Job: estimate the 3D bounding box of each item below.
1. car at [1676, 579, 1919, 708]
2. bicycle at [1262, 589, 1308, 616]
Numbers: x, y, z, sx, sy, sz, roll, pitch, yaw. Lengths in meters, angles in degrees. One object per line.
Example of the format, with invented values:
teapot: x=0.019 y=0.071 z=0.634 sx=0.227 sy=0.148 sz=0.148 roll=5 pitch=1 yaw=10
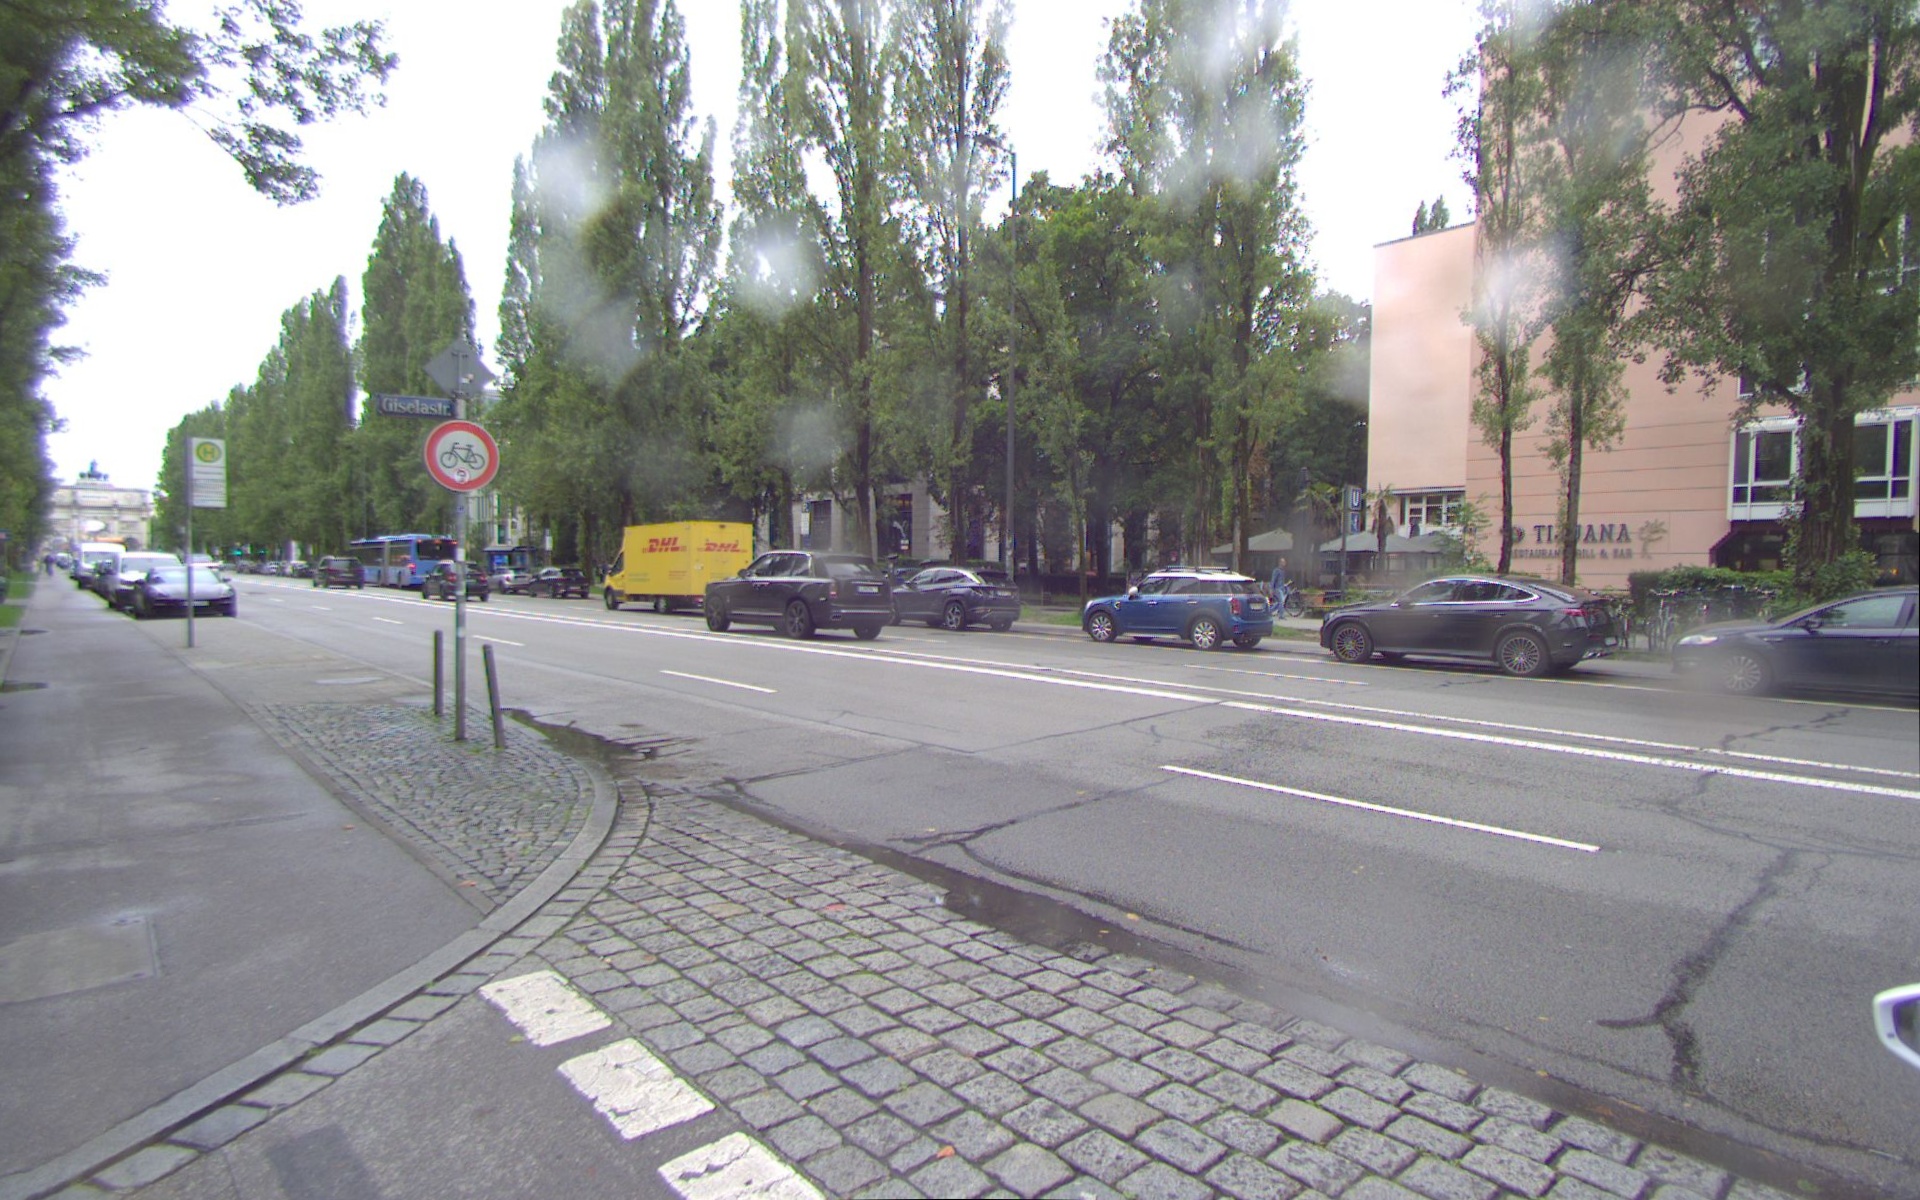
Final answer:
car: x=12.341 y=0.534 z=13.135 sx=1.780 sy=1.549 sz=4.565 roll=-1 pitch=3 yaw=-42
bicycle: x=10.541 y=0.073 z=32.594 sx=1.343 sy=0.867 sz=0.529 roll=0 pitch=2 yaw=-19
